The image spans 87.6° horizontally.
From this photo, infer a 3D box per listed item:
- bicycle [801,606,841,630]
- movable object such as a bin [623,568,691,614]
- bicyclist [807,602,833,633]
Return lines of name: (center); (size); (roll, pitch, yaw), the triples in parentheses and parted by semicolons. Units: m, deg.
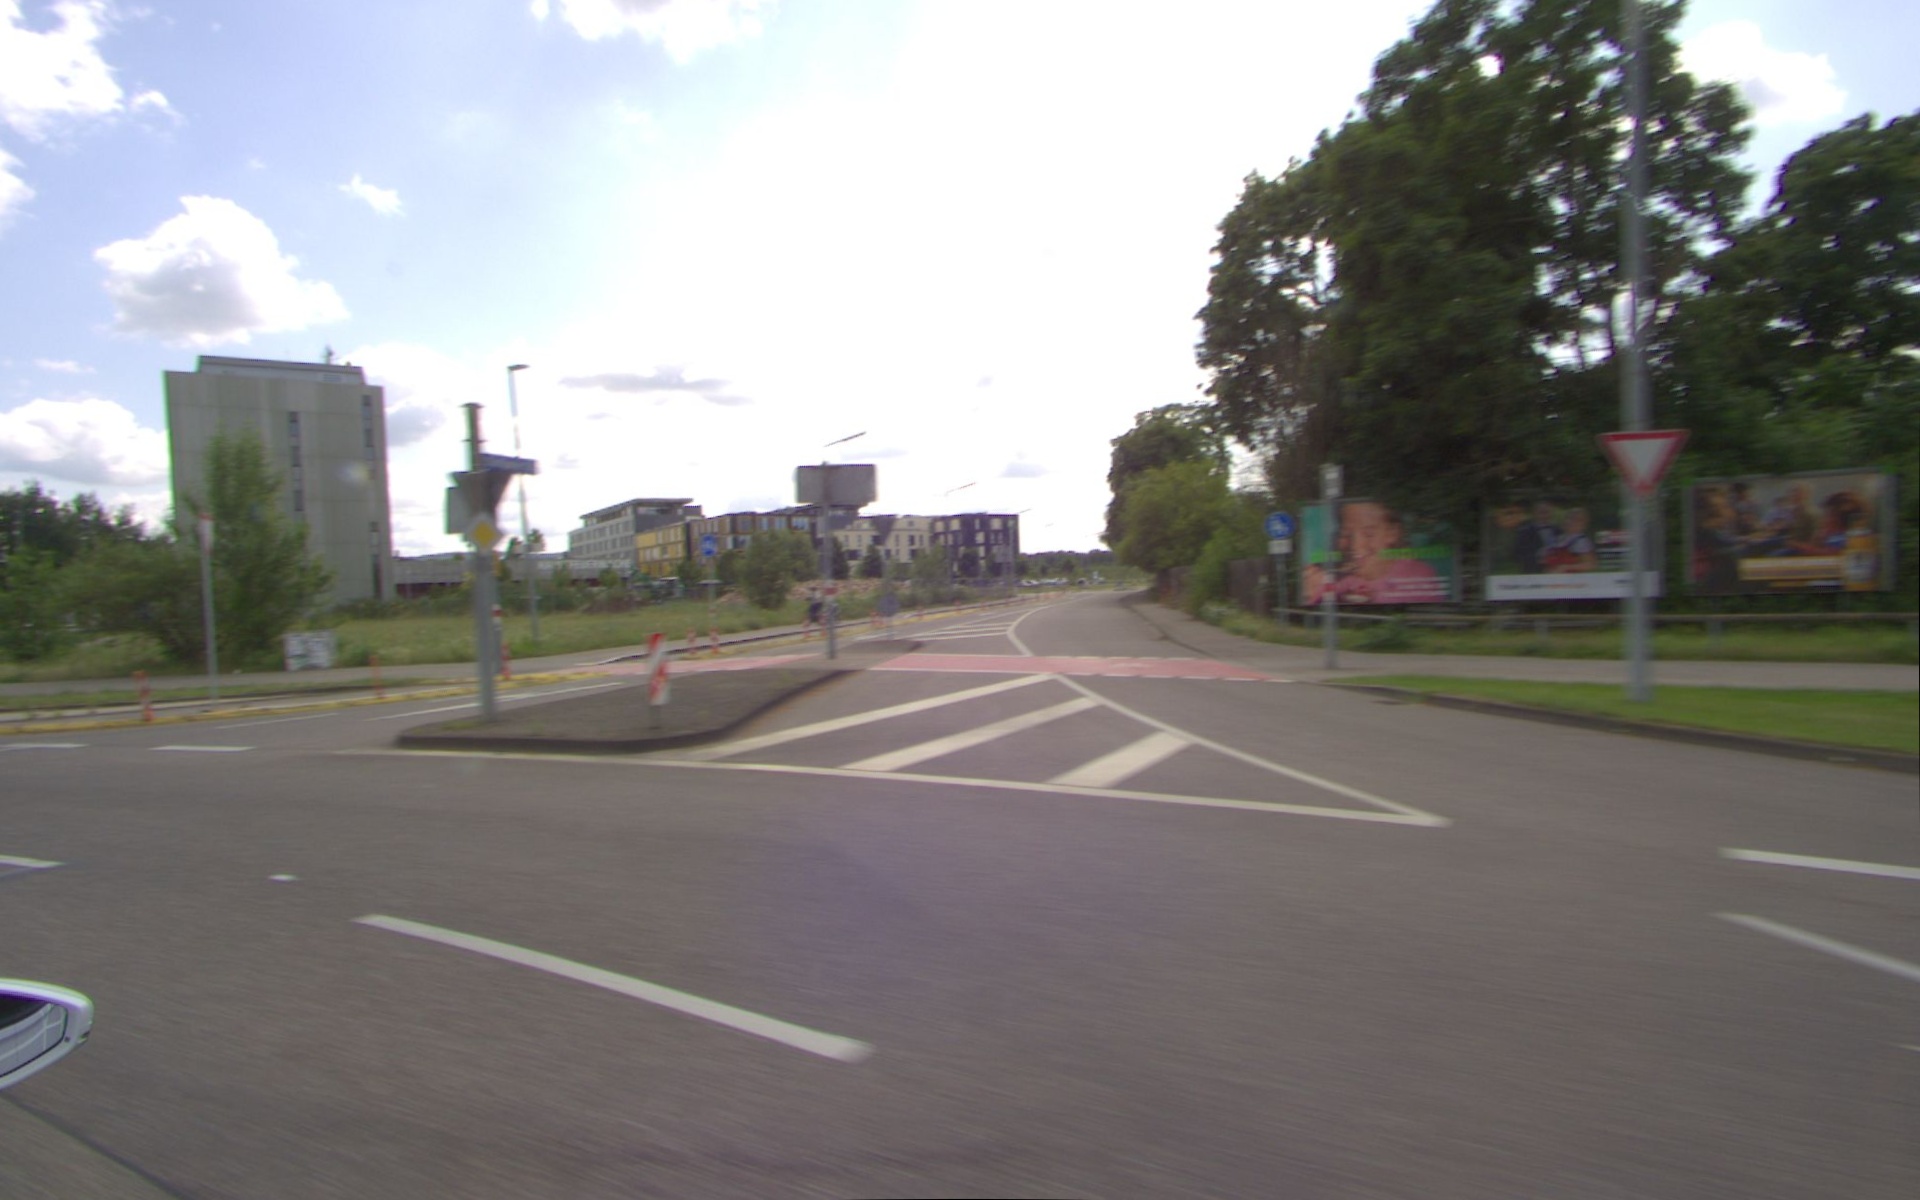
bicycle: (-6.189, 0.814, 44.672); (0.860, 1.030, 2.542); (-2, -1, 14)
movable object such as a bin: (-28.040, -0.745, 92.946); (2.991, 3.902, 7.615); (-1, -1, 9)
bicyclist: (-6.216, 0.795, 44.507); (0.860, 1.342, 0.811); (-2, 0, 16)
